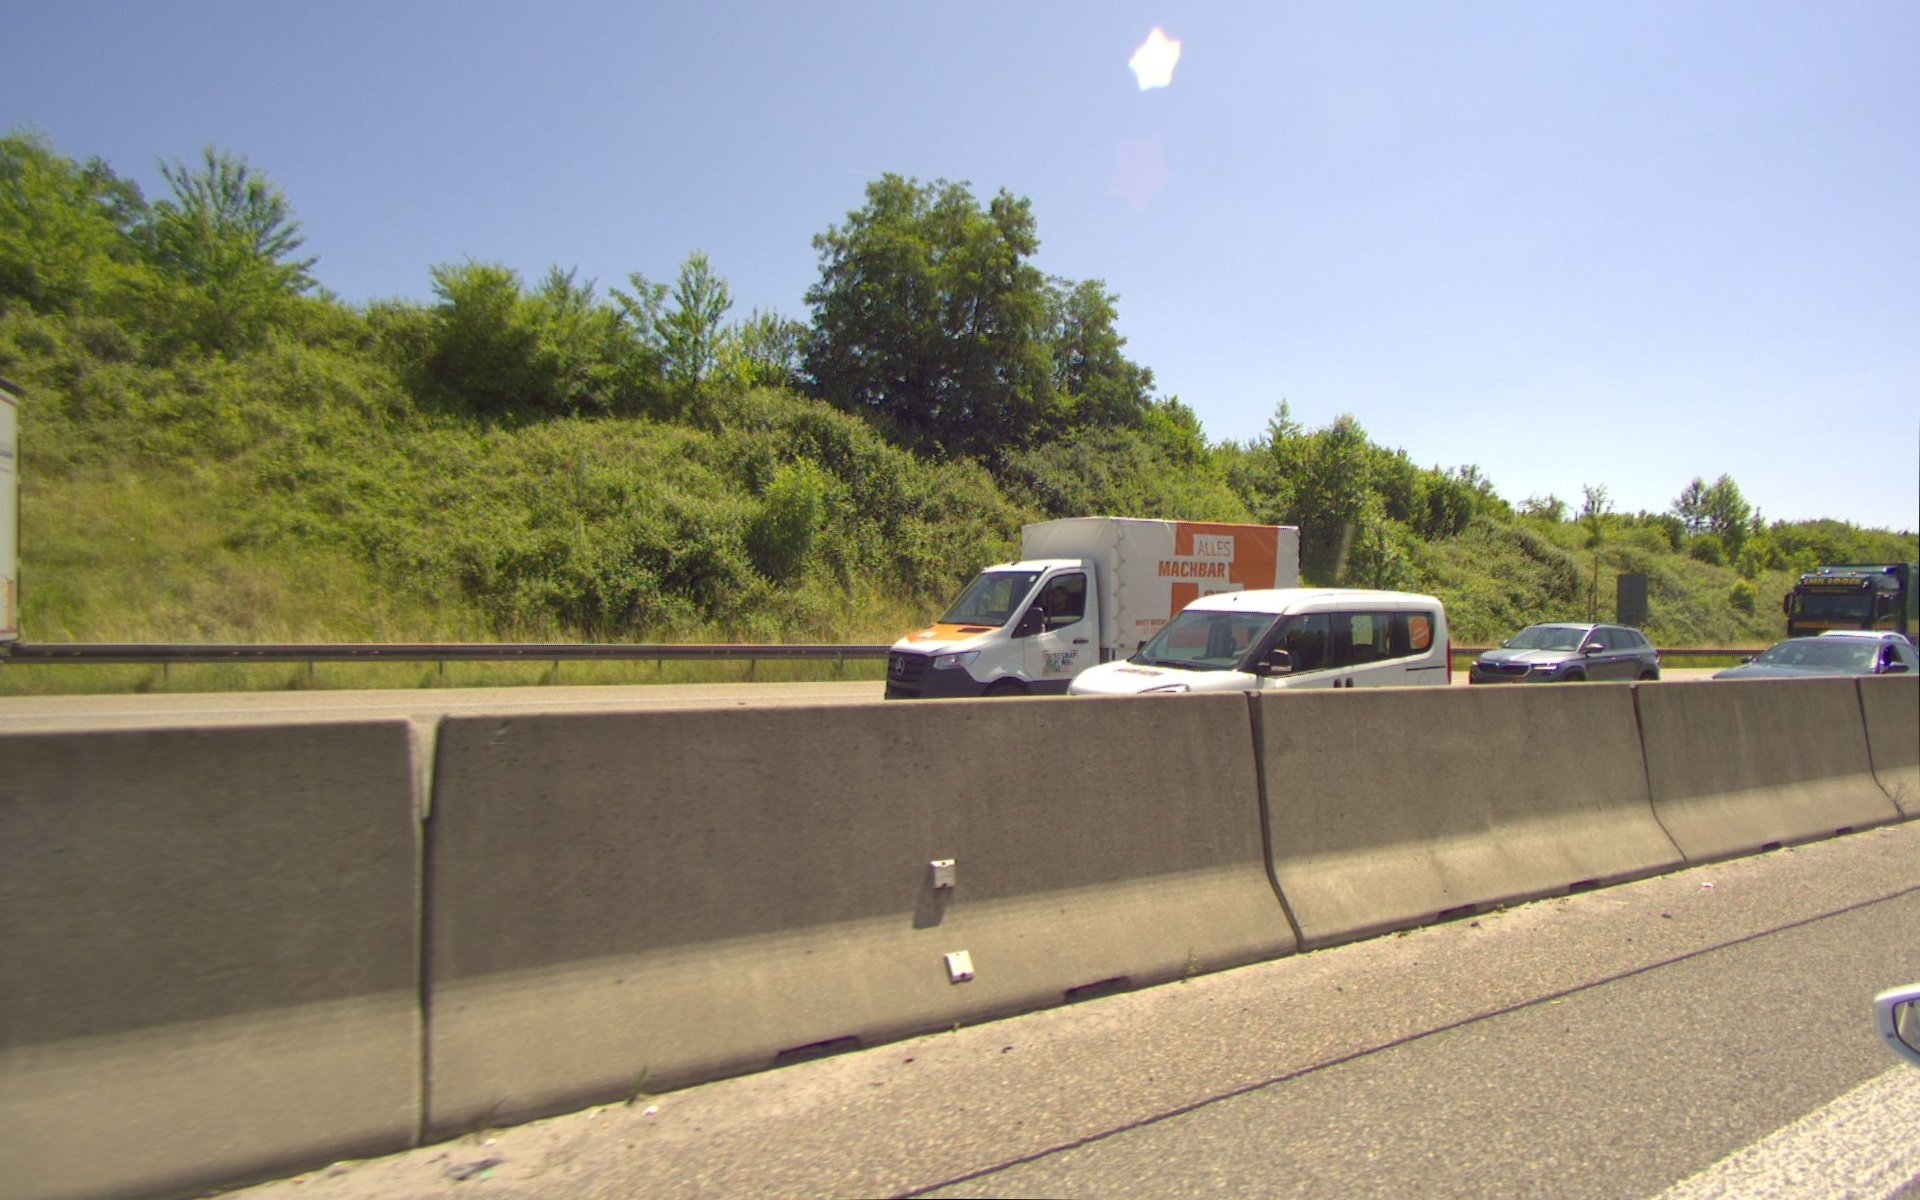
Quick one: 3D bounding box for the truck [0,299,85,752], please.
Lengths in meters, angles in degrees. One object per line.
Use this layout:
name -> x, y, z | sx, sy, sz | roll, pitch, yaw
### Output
truck -> -16.351, -0.968, 7.927 | 13.757, 4.603, 2.981 | 2, 0, -29

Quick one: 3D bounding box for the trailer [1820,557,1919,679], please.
trailer -> 38.693, 0.852, 39.842 | 12.635, 4.318, 2.829 | 2, 0, -30

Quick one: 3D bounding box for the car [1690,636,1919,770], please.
car -> 13.869, 1.543, 16.023 | 4.934, 1.788, 1.818 | 2, 0, -31

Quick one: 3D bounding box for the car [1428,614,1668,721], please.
car -> 11.320, 1.242, 19.234 | 4.934, 1.788, 1.818 | 2, 0, -31

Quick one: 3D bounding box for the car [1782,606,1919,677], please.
car -> 24.747, 1.137, 27.585 | 4.934, 1.788, 1.818 | 2, 0, -31

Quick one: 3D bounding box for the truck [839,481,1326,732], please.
truck -> 1.890, 0.173, 14.336 | 6.674, 2.883, 2.556 | 2, 0, -30

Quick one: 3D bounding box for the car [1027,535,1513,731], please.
car -> 3.278, 0.344, 10.209 | 5.053, 1.585, 1.818 | 2, 0, -31

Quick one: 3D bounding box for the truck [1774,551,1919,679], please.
truck -> 32.369, 0.582, 36.173 | 5.561, 4.259, 2.806 | 2, 0, -29
